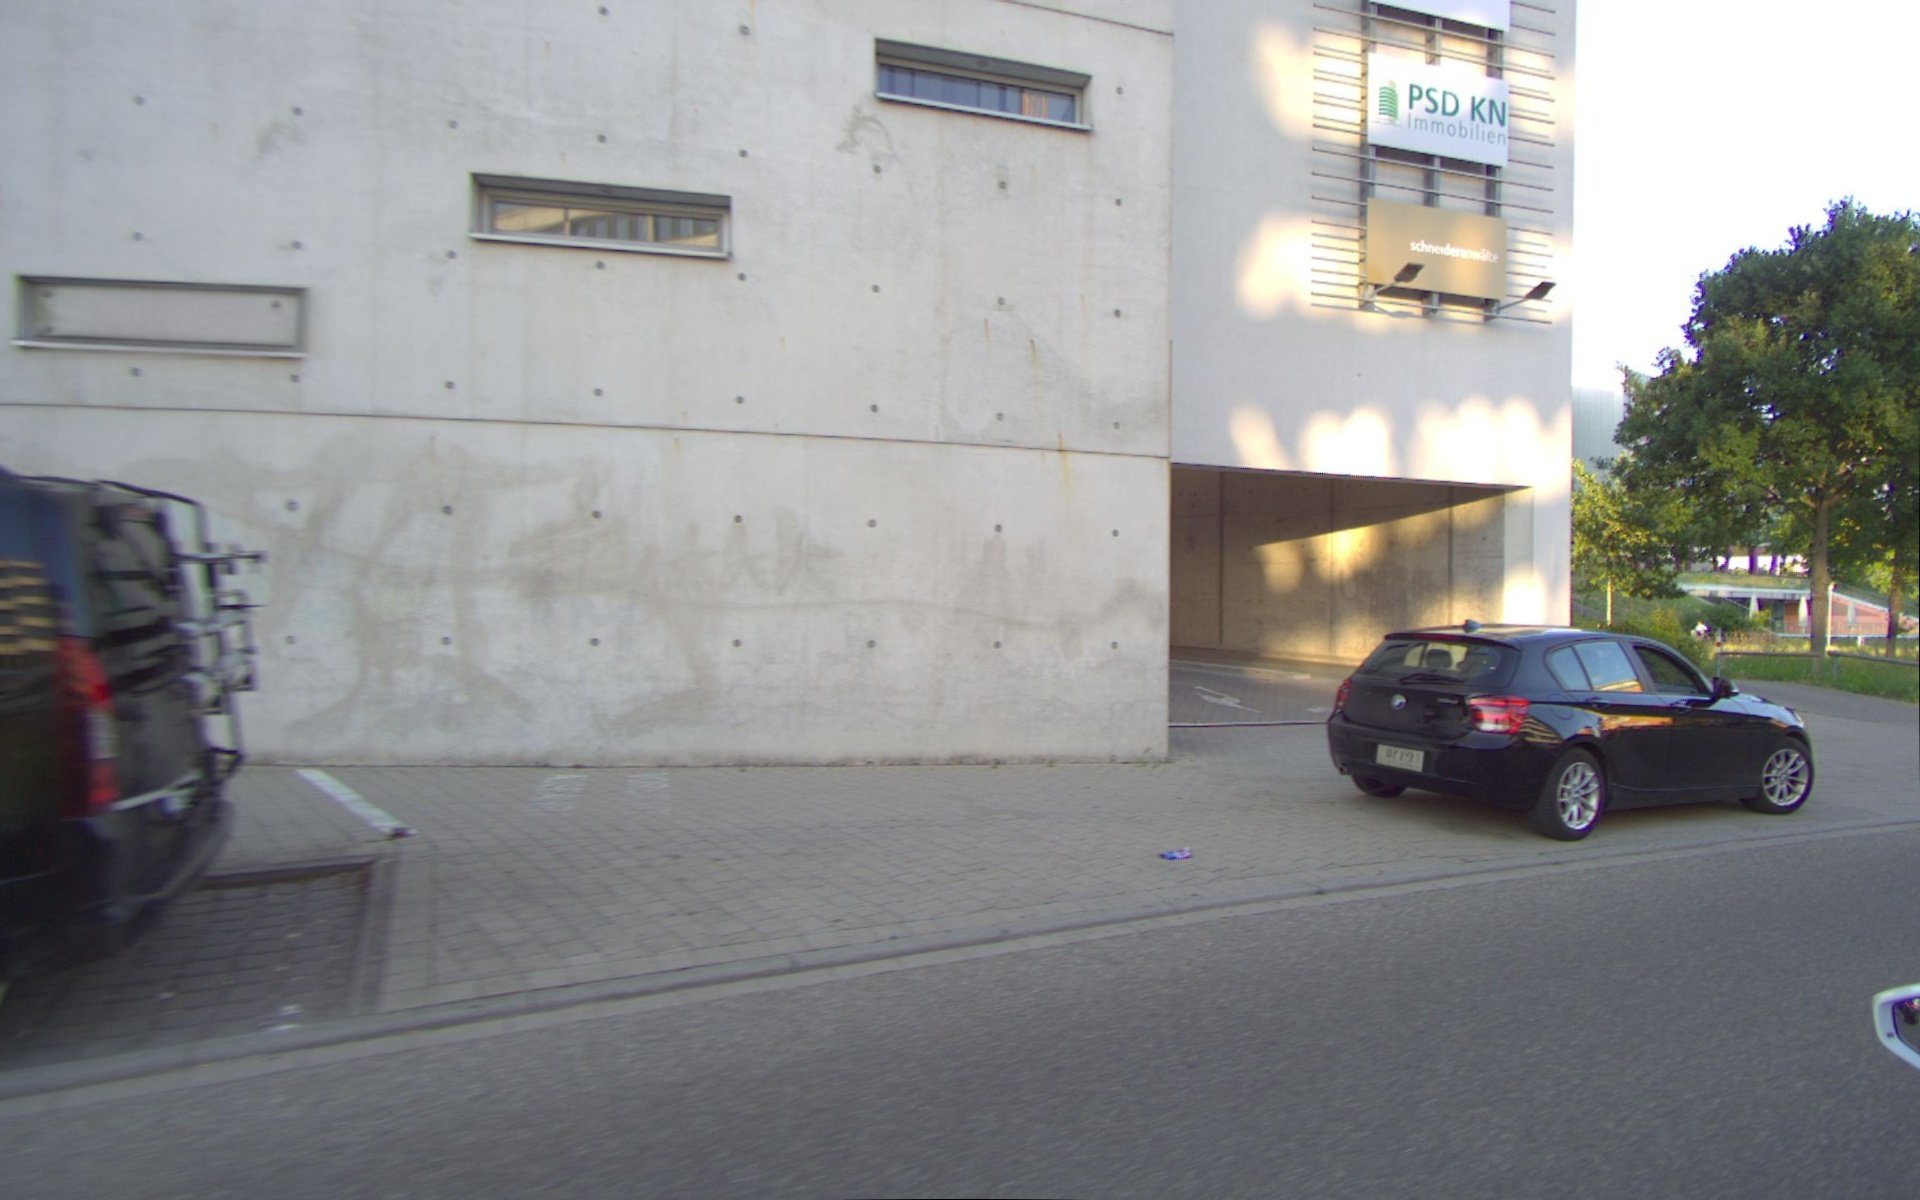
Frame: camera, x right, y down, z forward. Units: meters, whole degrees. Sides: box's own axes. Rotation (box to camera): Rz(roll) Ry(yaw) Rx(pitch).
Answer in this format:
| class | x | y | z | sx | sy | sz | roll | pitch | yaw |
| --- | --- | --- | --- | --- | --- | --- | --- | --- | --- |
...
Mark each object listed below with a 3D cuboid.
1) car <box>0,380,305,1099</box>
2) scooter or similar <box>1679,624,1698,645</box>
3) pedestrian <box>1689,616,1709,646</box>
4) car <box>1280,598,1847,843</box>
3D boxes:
| class | x | y | z | sx | sy | sz | roll | pitch | yaw |
| --- | --- | --- | --- | --- | --- | --- | --- | --- | --- |
| car | -4.624 | 0.345 | 2.813 | 4.459 | 1.999 | 1.882 | 1 | 1 | -27 |
| scooter or similar | 45.498 | 2.166 | 62.722 | 0.778 | 1.260 | 0.616 | 1 | 1 | -18 |
| pedestrian | 46.412 | 1.926 | 63.115 | 0.778 | 1.861 | 0.616 | 1 | 1 | -18 |
| car | 4.787 | 0.772 | 7.937 | 4.172 | 1.461 | 1.846 | 1 | 1 | -26 |
